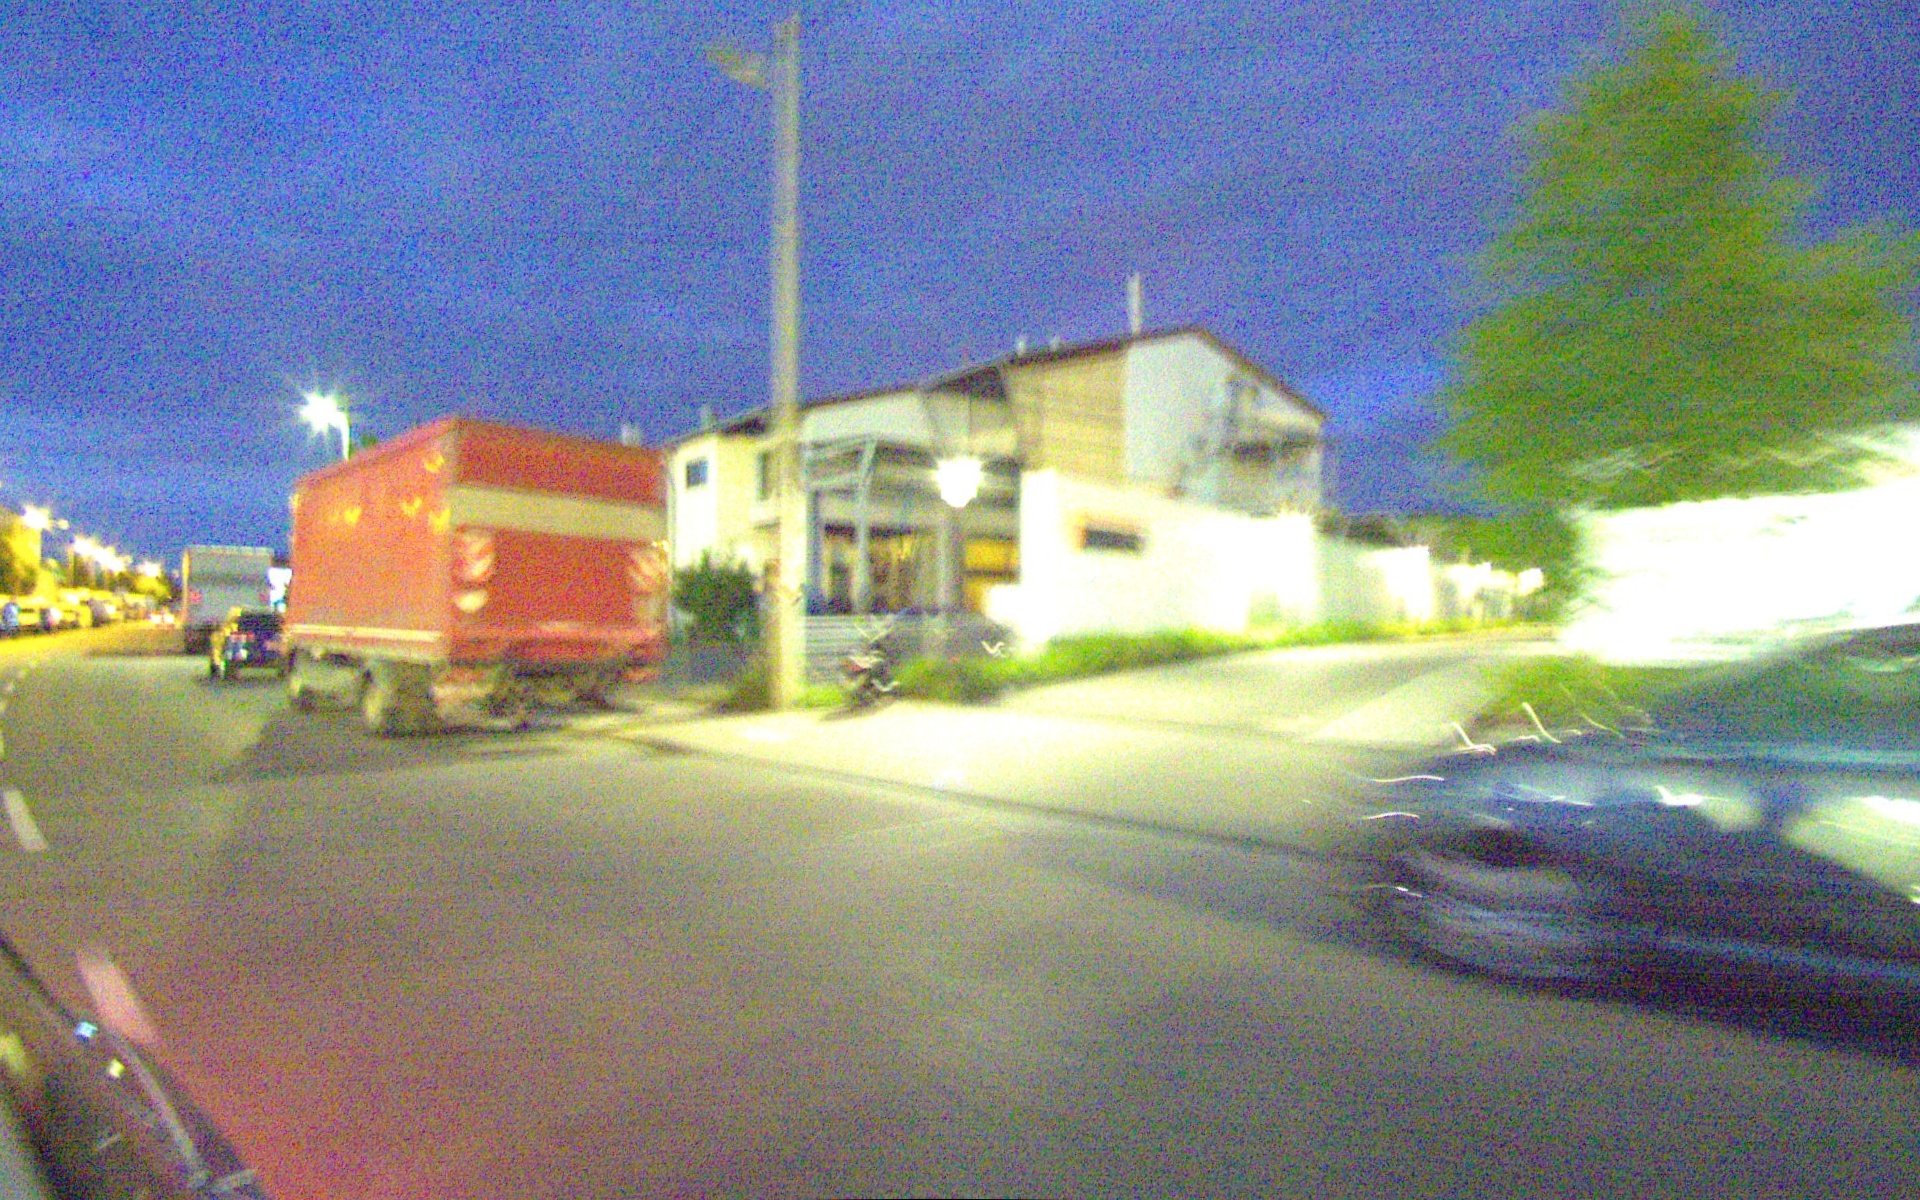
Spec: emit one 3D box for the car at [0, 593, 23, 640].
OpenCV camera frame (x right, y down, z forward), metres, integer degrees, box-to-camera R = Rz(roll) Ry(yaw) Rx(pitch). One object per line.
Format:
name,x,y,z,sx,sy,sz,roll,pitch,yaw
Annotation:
car,-55.351,0.998,57.634,1.967,2.544,5.924,-3,1,-35

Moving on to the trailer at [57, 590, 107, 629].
trailer,-91.563,1.008,105.723,2.729,3.792,14.689,-1,0,-37

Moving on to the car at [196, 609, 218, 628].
car,-76.000,1.887,102.135,1.780,1.812,4.889,0,-1,-37

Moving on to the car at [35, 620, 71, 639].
car,-77.009,2.490,85.955,1.806,1.418,4.919,-3,1,-37

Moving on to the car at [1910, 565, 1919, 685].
car,11.772,0.293,10.742,1.888,1.493,4.365,-1,-1,36

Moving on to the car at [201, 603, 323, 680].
car,-17.545,0.985,25.332,1.920,1.730,5.205,1,-1,-41

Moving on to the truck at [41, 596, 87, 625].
truck,-81.366,0.980,91.999,2.369,2.614,6.613,0,-1,-35

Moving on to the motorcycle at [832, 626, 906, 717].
motorcycle,-1.279,0.980,14.477,0.526,1.109,1.685,0,2,14

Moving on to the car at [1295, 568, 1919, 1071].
car,3.810,0.703,3.801,4.493,1.605,1.846,-1,-1,42

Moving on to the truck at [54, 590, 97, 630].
truck,-87.270,0.950,99.936,2.729,3.792,5.240,-1,0,-37

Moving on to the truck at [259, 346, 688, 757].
truck,-7.487,-0.422,14.541,2.740,4.151,9.348,1,-1,-44

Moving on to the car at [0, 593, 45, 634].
car,-63.726,0.917,68.623,2.102,2.590,5.919,-3,1,-40

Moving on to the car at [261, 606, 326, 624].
car,-56.787,1.260,86.247,1.783,1.451,4.379,0,-1,24

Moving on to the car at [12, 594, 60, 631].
car,-67.943,0.934,74.509,1.968,2.590,6.027,-3,1,-37

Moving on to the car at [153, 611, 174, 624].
car,-92.163,2.040,117.104,1.833,1.431,4.008,0,-1,-38

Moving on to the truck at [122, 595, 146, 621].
truck,-138.590,1.425,169.860,2.618,3.904,10.252,-1,-2,-37

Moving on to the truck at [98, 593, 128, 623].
truck,-120.125,1.186,143.646,2.754,4.000,9.841,-1,-1,-37

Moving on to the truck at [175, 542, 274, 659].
truck,-29.133,0.081,39.892,2.711,4.064,9.578,0,-1,-39

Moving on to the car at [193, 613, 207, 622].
car,-119.696,2.778,159.444,1.664,1.375,3.888,-1,0,-37

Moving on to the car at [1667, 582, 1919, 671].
car,15.471,0.439,18.175,4.458,1.468,1.884,-1,0,38

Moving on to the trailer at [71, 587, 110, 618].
trailer,-103.272,0.327,120.266,2.840,3.551,8.302,0,-1,-37
